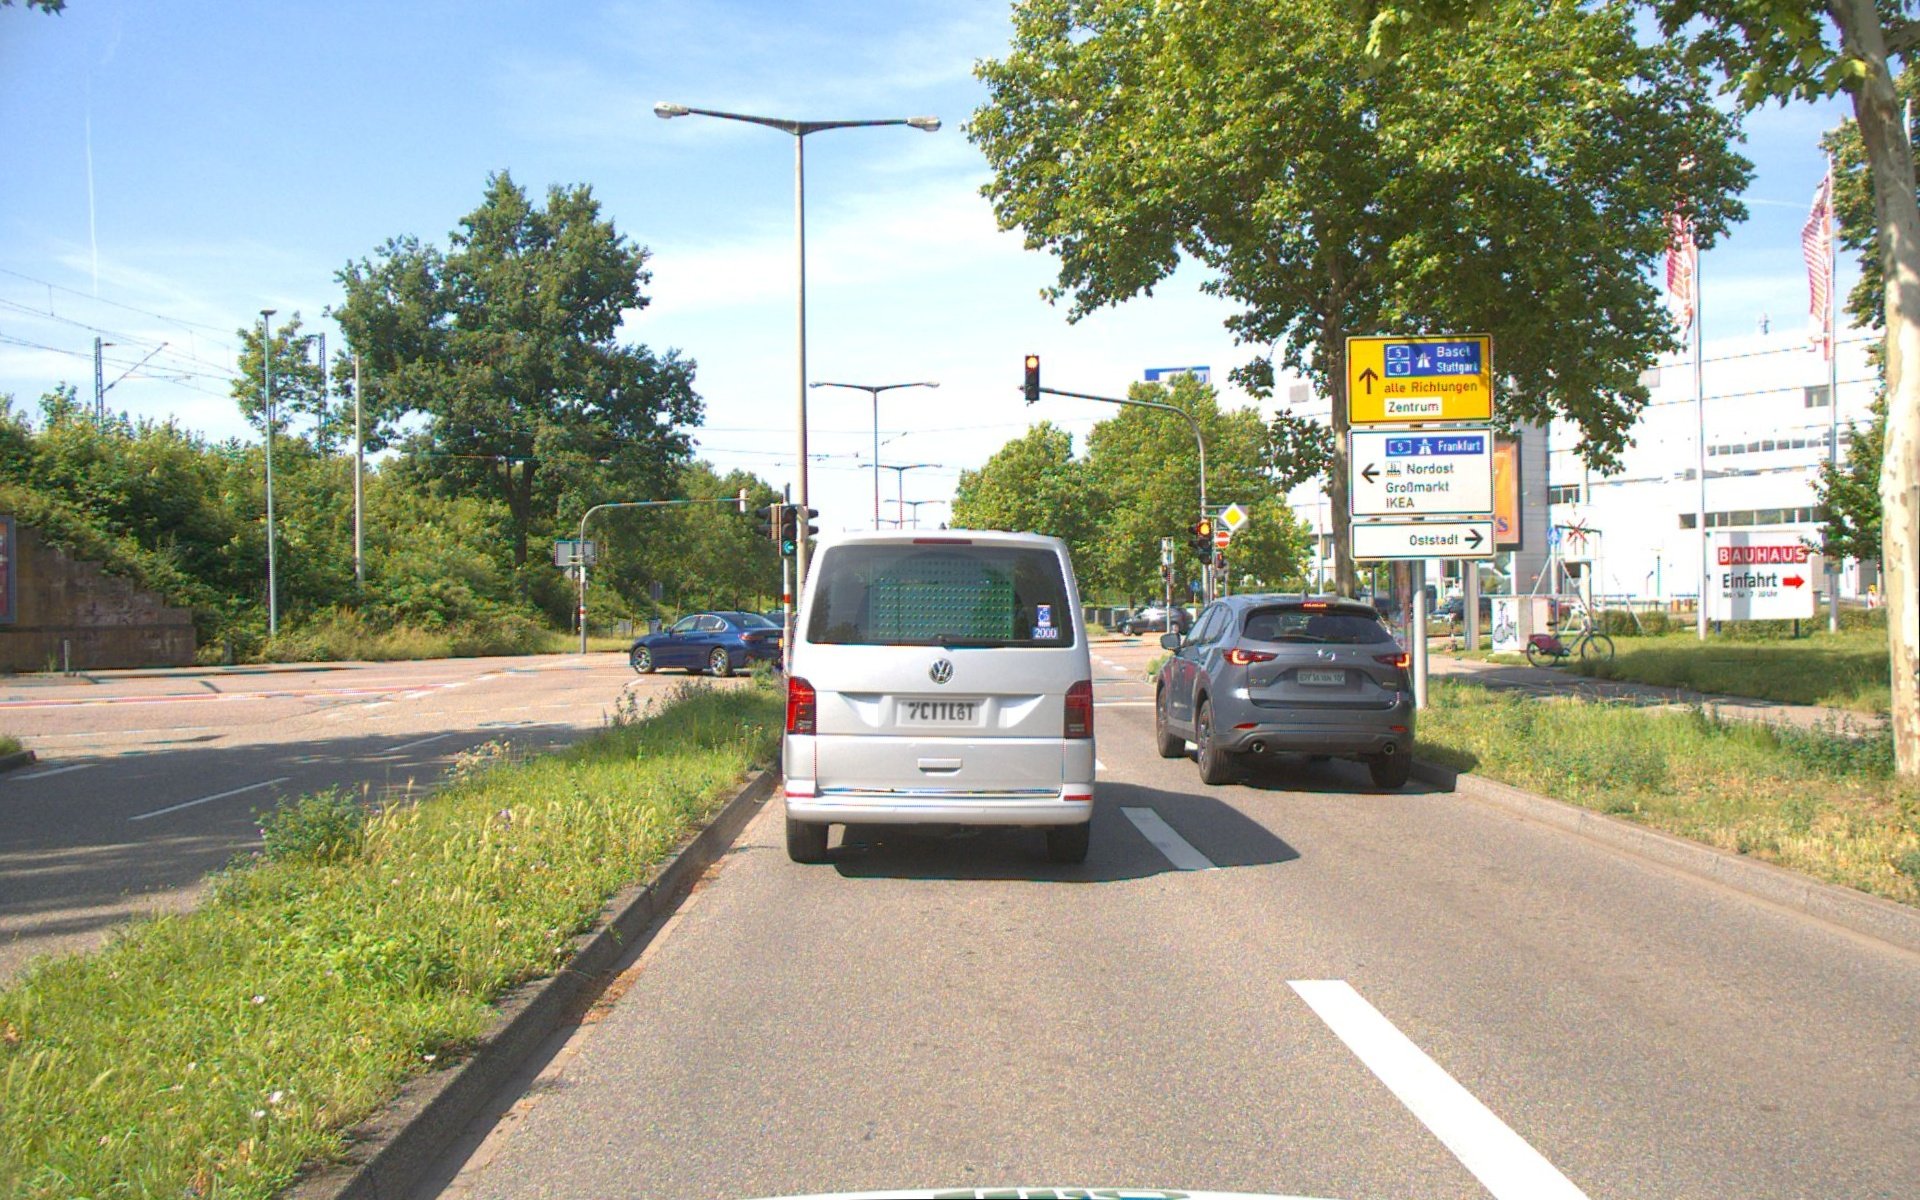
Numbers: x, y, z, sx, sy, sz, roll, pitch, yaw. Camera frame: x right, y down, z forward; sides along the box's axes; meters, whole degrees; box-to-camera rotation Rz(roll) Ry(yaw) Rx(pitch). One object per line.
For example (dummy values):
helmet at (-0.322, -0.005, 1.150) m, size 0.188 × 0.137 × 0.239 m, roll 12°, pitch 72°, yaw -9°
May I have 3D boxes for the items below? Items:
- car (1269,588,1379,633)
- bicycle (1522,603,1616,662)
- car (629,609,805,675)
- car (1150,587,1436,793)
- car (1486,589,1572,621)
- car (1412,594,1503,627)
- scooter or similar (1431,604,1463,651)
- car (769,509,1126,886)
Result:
car at (14.894, 0.412, 67.617) m, size 4.578 × 1.718 × 1.890 m, roll -1°, pitch 0°, yaw -38°
bicycle at (12.521, 0.671, 34.024) m, size 1.748 × 1.127 × 0.504 m, roll -3°, pitch -1°, yaw 18°
car at (-5.715, 0.975, 38.599) m, size 4.248 × 1.421 × 1.782 m, roll -1°, pitch 0°, yaw 42°
car at (3.018, 0.761, 15.944) m, size 1.730 × 1.688 × 4.494 m, roll 1°, pitch 0°, yaw -2°
car at (27.888, 0.235, 81.038) m, size 4.578 × 1.469 × 1.758 m, roll -1°, pitch 0°, yaw -38°
car at (23.403, 0.484, 77.708) m, size 4.578 × 1.469 × 1.758 m, roll -1°, pitch 0°, yaw -38°
scooter or similar at (12.112, 0.674, 41.149) m, size 0.416 × 1.146 × 1.123 m, roll -1°, pitch 0°, yaw -2°
car at (-0.101, 0.534, 11.385) m, size 1.902 × 2.006 × 5.021 m, roll 0°, pitch 0°, yaw -1°
